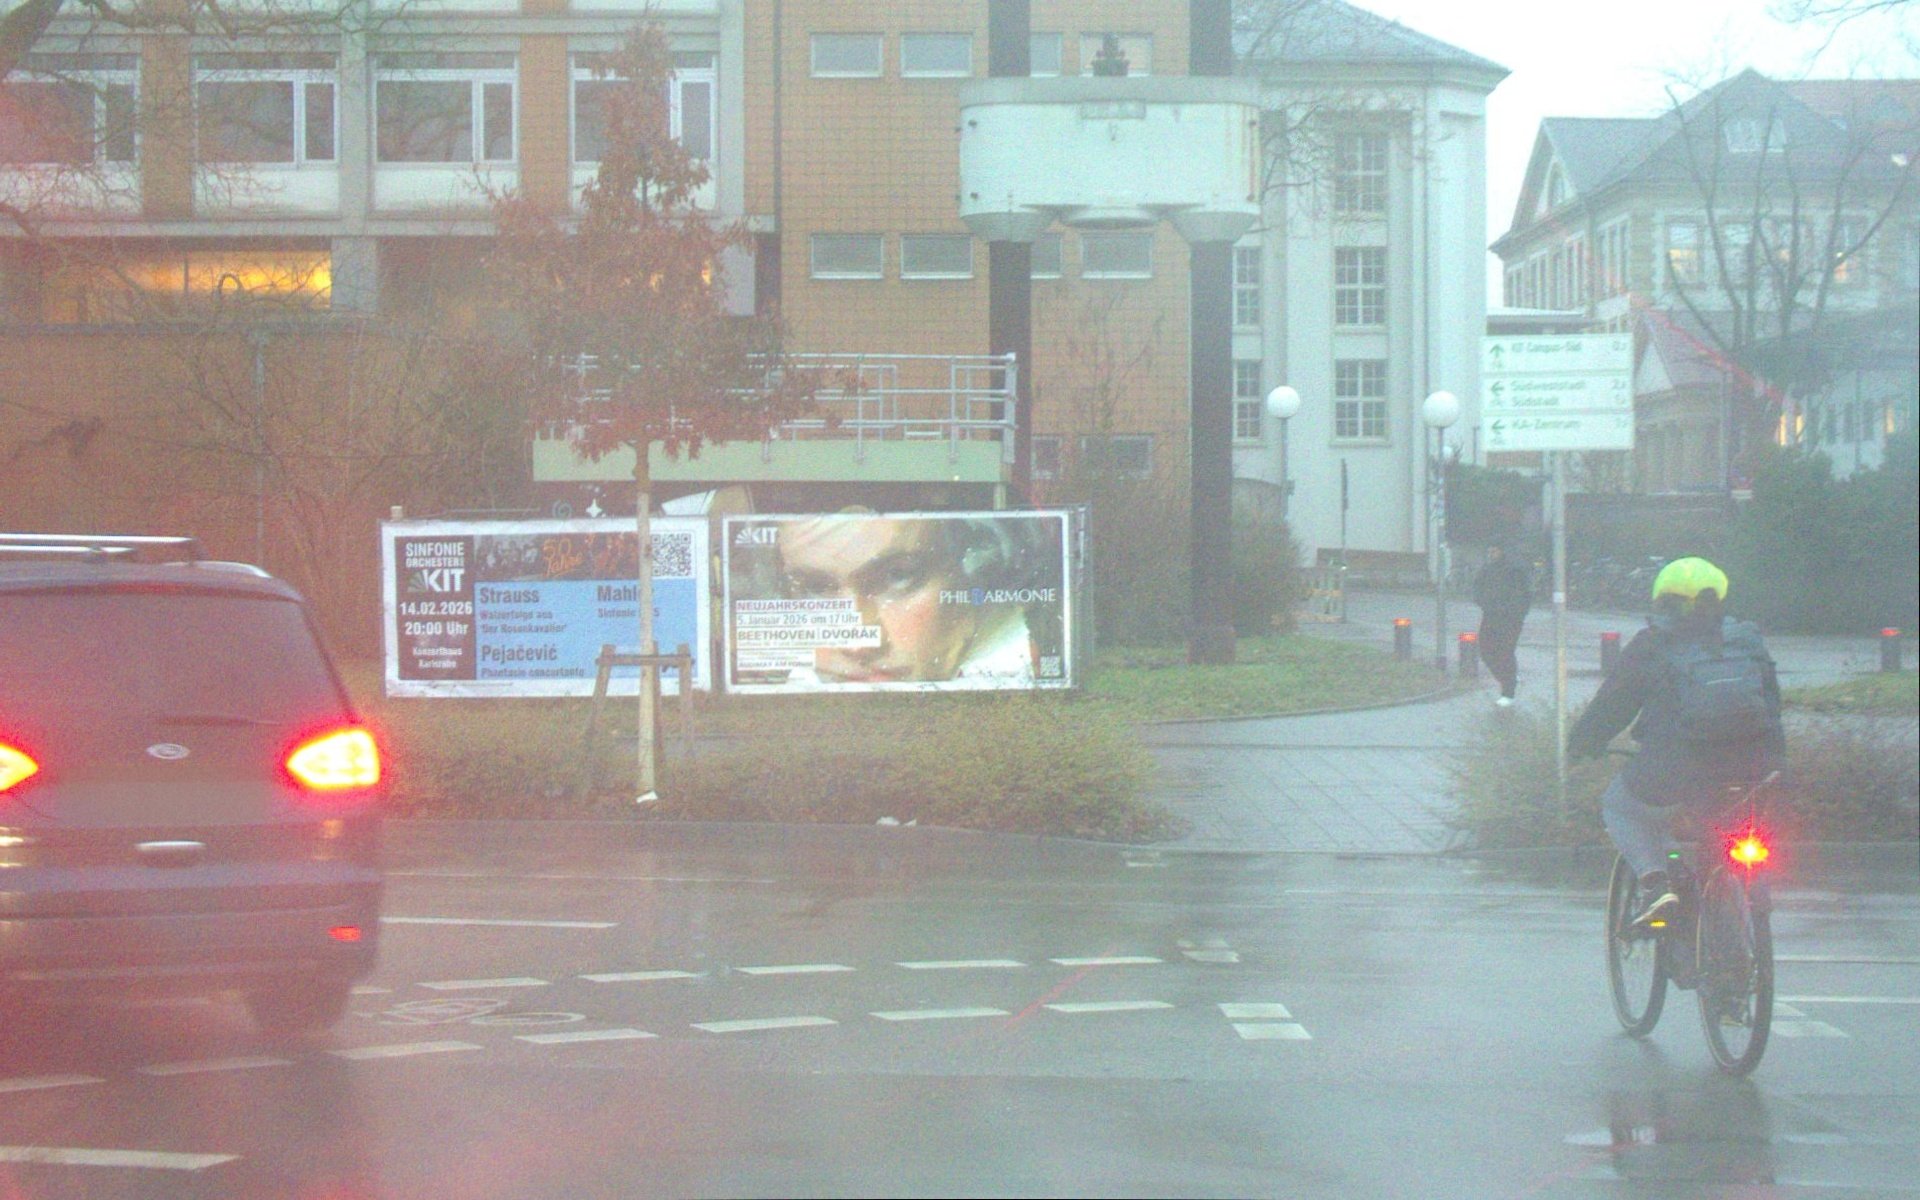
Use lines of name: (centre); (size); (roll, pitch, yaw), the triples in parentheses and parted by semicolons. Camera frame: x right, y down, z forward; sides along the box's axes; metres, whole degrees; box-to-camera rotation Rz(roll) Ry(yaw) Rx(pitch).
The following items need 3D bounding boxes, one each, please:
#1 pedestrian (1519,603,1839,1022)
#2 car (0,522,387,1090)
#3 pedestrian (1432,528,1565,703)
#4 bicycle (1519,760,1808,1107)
pedestrian: (2.376, 0.682, 11.451); (0.874, 1.312, 0.848); (-1, 1, 0)
car: (-3.556, 0.636, 13.033); (1.777, 1.794, 4.425); (0, 0, -22)
pedestrian: (5.363, 0.146, 34.276); (0.924, 1.682, 0.913); (0, 3, -25)
bicycle: (2.361, 1.088, 11.754); (0.561, 0.943, 2.095); (-1, 1, 0)
